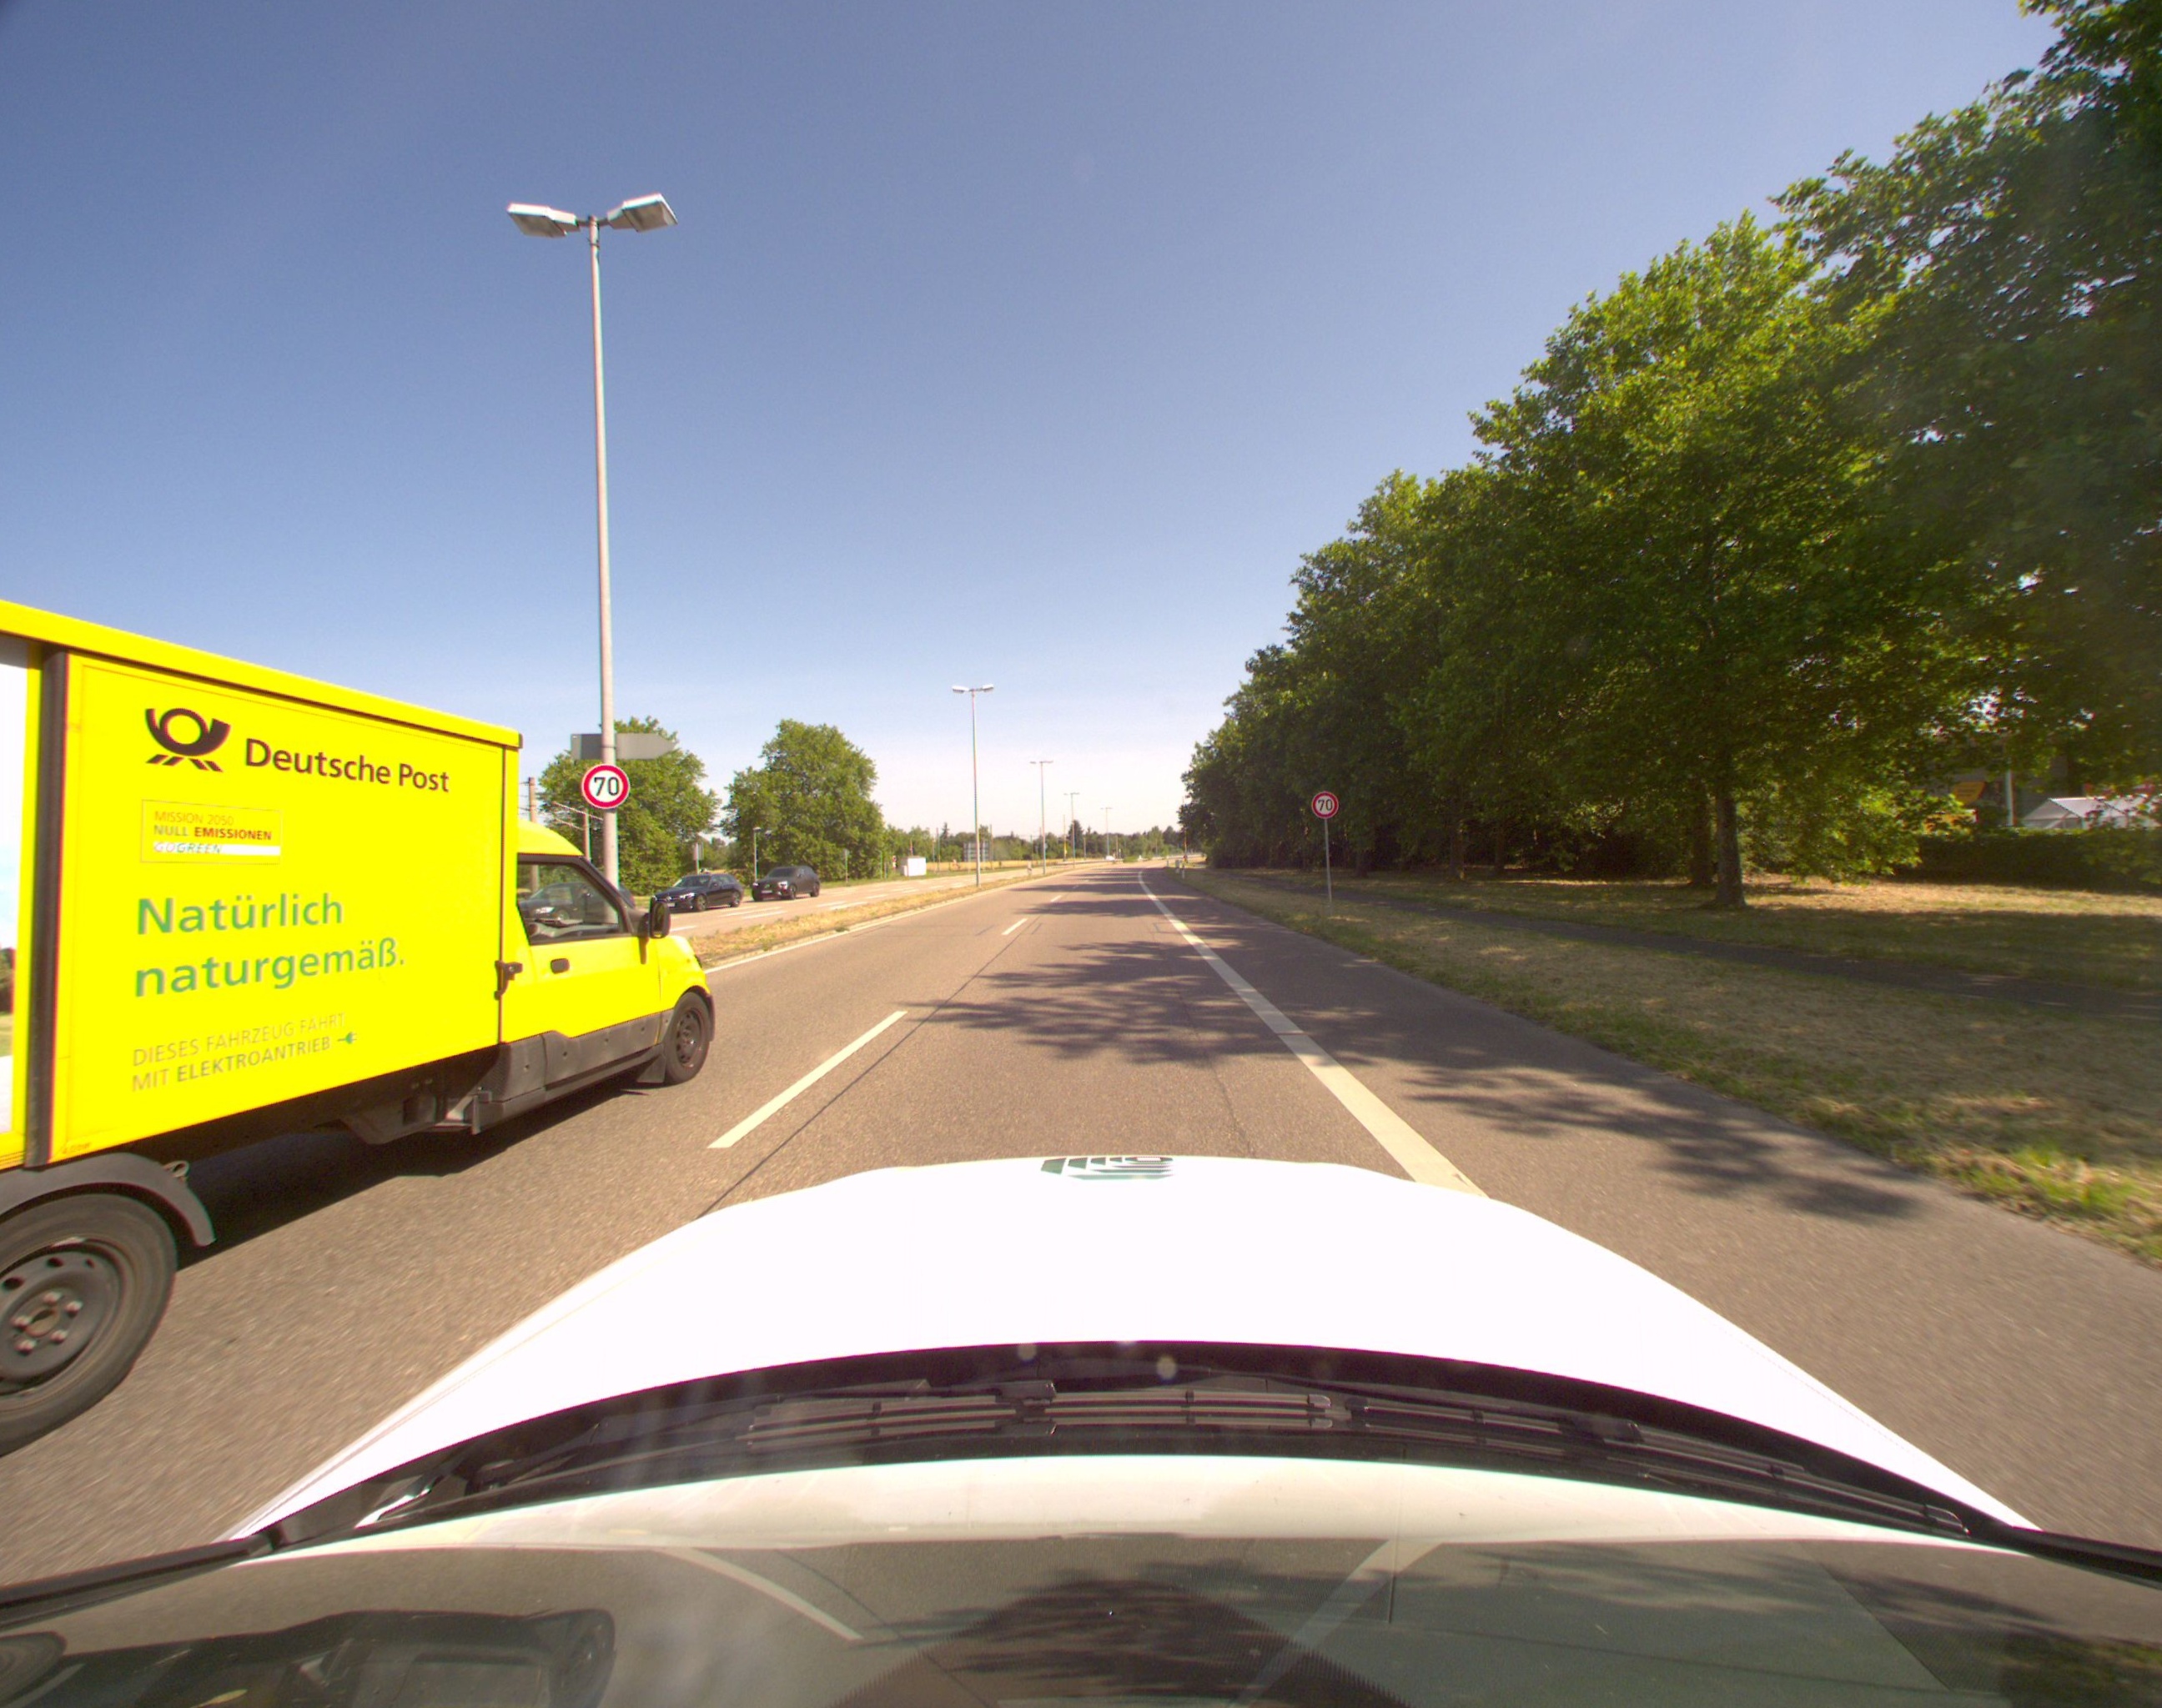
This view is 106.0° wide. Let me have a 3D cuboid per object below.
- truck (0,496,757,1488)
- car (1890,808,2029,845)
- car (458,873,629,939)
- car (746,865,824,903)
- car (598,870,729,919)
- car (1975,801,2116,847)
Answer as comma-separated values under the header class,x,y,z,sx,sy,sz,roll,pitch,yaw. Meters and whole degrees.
class,x,y,z,sx,sy,sz,roll,pitch,yaw
truck,-3.707,0.363,3.526,2.104,2.457,5.918,-1,0,1
car,40.989,-1.248,38.127,3.956,1.585,2.009,-1,-1,17
car,-15.320,1.402,23.544,1.855,1.545,4.407,-3,0,1
car,-14.546,1.419,40.346,1.974,1.660,4.557,-3,-1,2
car,-15.242,1.428,30.073,2.061,1.529,4.691,-2,0,5
car,46.539,-1.411,39.408,3.956,2.014,2.009,-1,-1,17
